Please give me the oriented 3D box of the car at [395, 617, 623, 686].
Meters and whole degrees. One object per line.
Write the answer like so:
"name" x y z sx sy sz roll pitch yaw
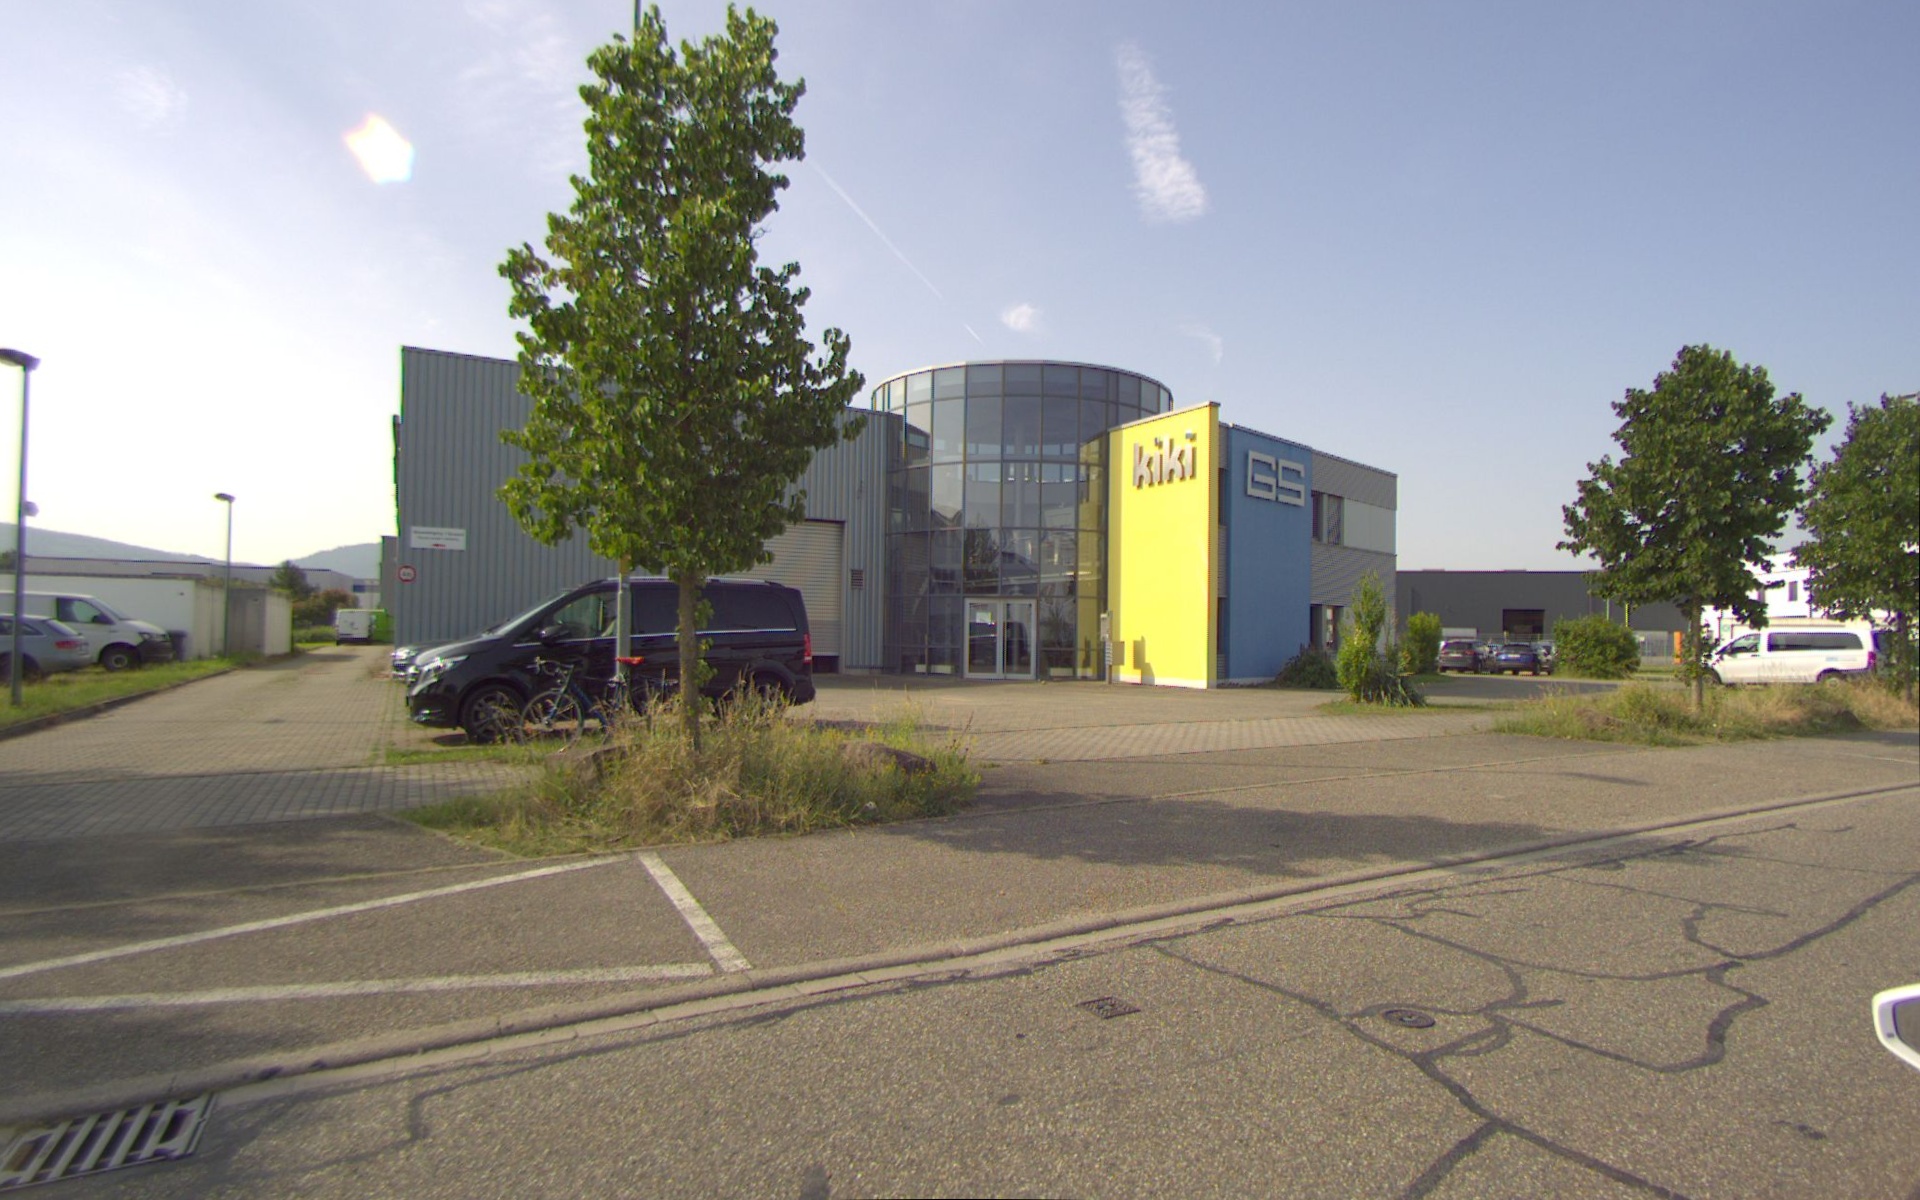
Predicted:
"car" -10.522 1.171 23.567 4.725 1.480 1.707 2 -1 -30

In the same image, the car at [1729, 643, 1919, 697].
"car" 27.440 2.155 31.663 1.974 1.450 4.711 2 -2 -26

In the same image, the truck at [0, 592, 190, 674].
"truck" -22.411 0.826 25.034 4.899 1.929 1.982 2 -2 -33

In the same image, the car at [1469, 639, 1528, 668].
"car" 33.032 3.291 61.561 4.120 1.634 1.825 4 -3 -41

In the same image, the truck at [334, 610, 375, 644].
"truck" -40.272 1.762 66.918 1.975 2.157 4.977 2 -2 -28

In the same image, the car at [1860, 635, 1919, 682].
"car" 36.429 2.200 38.228 4.646 1.709 1.983 2 -2 -31

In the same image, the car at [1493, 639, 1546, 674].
"car" 25.838 2.605 46.323 1.819 1.505 3.989 0 -2 34

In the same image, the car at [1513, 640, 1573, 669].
"car" 34.347 3.221 59.135 4.120 1.634 1.825 4 -3 -41

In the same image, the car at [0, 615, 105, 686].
"car" -19.985 0.988 19.940 4.336 1.390 1.722 2 -2 -33

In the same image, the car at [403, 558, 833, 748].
"car" -4.271 0.649 12.821 4.932 2.040 1.873 1 -2 -30

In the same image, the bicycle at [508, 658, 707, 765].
"bicycle" -3.549 1.095 10.169 1.846 0.991 0.538 2 -1 -26

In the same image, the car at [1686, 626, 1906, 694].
"car" 25.001 1.735 30.252 2.077 1.860 4.684 2 -2 -29

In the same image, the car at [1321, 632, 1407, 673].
"car" 16.057 2.102 39.769 1.558 1.500 4.497 -1 -3 44

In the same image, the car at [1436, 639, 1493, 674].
"car" 24.040 2.674 47.816 1.938 1.505 3.989 0 -2 34
